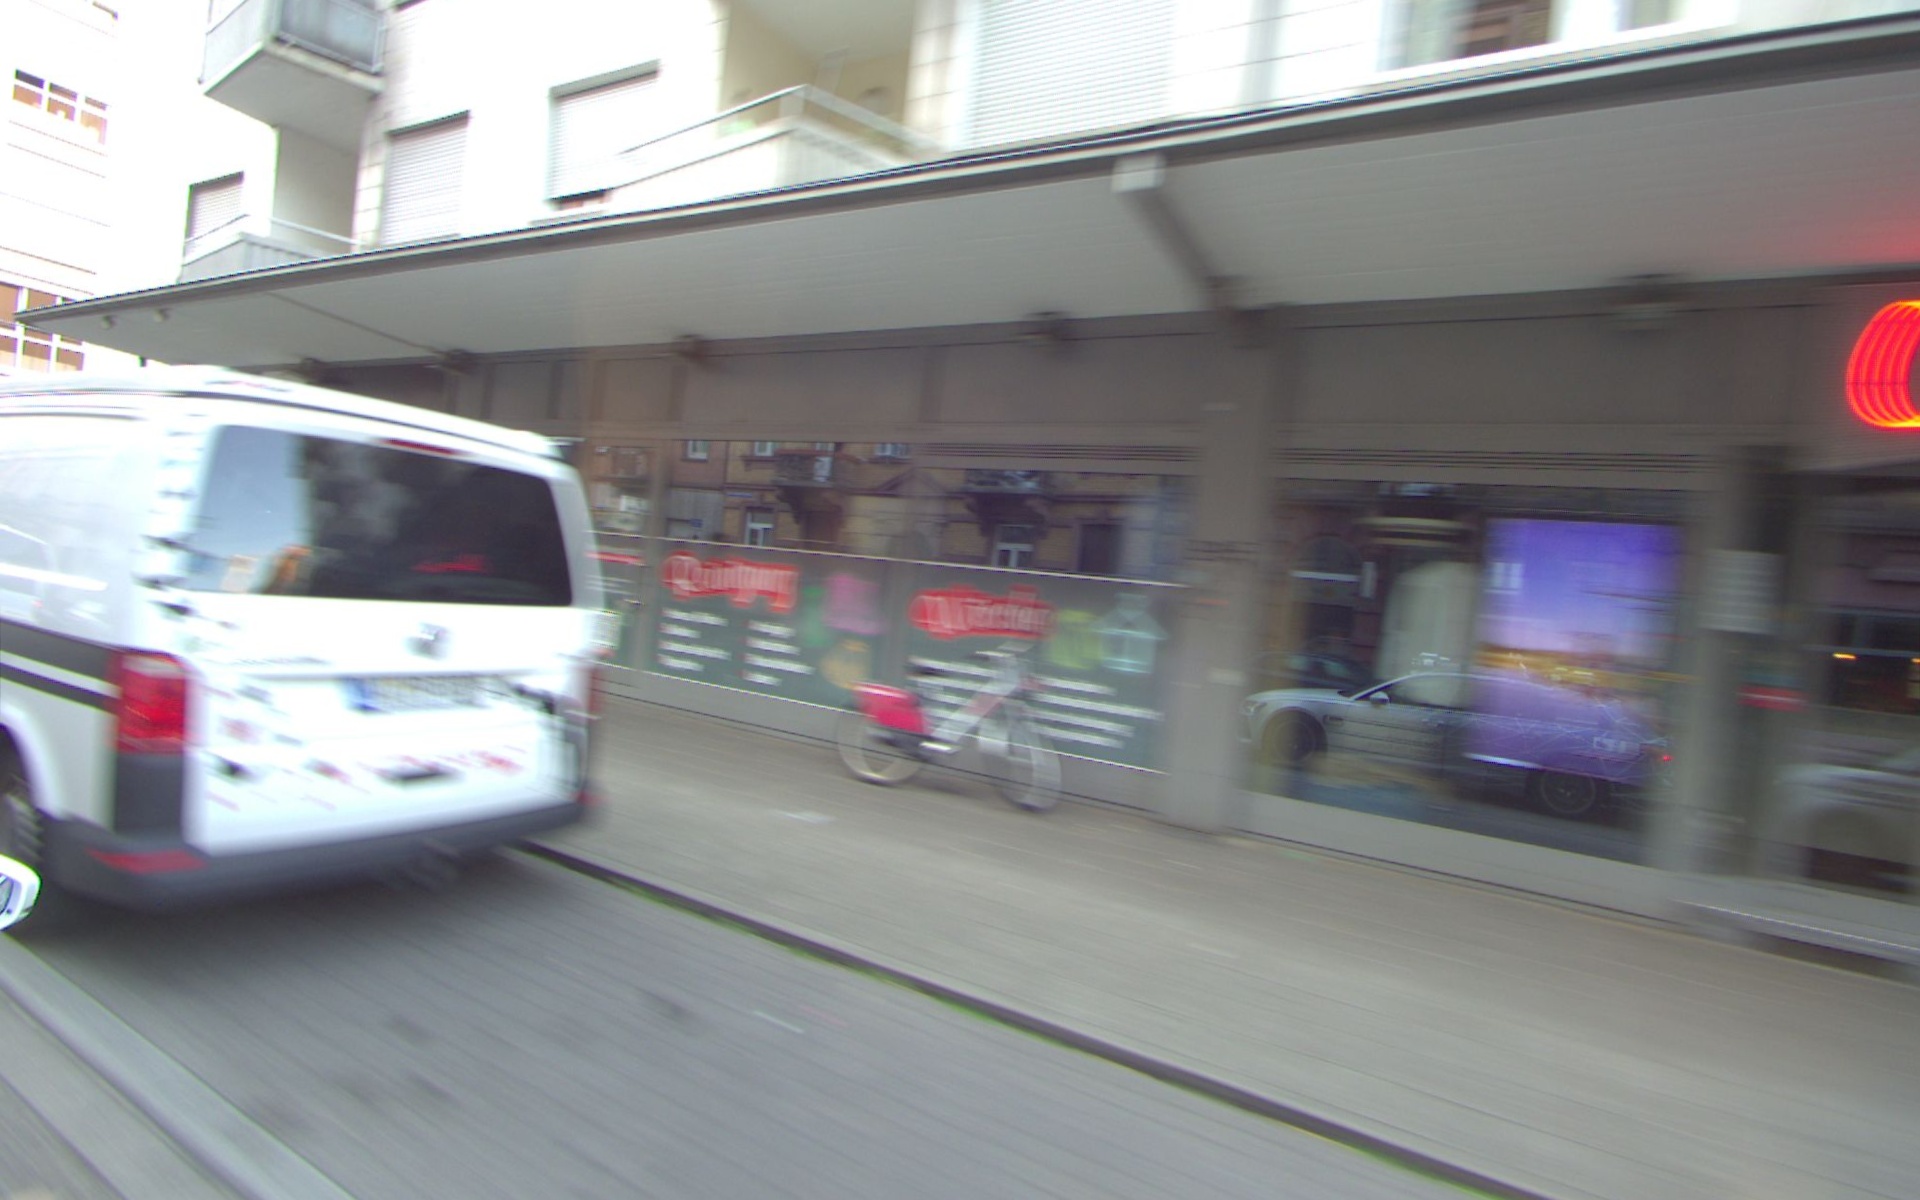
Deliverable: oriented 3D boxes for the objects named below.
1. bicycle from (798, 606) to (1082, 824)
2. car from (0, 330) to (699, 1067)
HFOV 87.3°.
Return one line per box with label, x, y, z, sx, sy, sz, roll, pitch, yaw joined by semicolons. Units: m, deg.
bicycle;-0.117;0.724;6.963;1.679;1.212;0.912;5;2;18
car;-3.802;0.072;4.843;4.919;2.000;1.959;7;2;32
